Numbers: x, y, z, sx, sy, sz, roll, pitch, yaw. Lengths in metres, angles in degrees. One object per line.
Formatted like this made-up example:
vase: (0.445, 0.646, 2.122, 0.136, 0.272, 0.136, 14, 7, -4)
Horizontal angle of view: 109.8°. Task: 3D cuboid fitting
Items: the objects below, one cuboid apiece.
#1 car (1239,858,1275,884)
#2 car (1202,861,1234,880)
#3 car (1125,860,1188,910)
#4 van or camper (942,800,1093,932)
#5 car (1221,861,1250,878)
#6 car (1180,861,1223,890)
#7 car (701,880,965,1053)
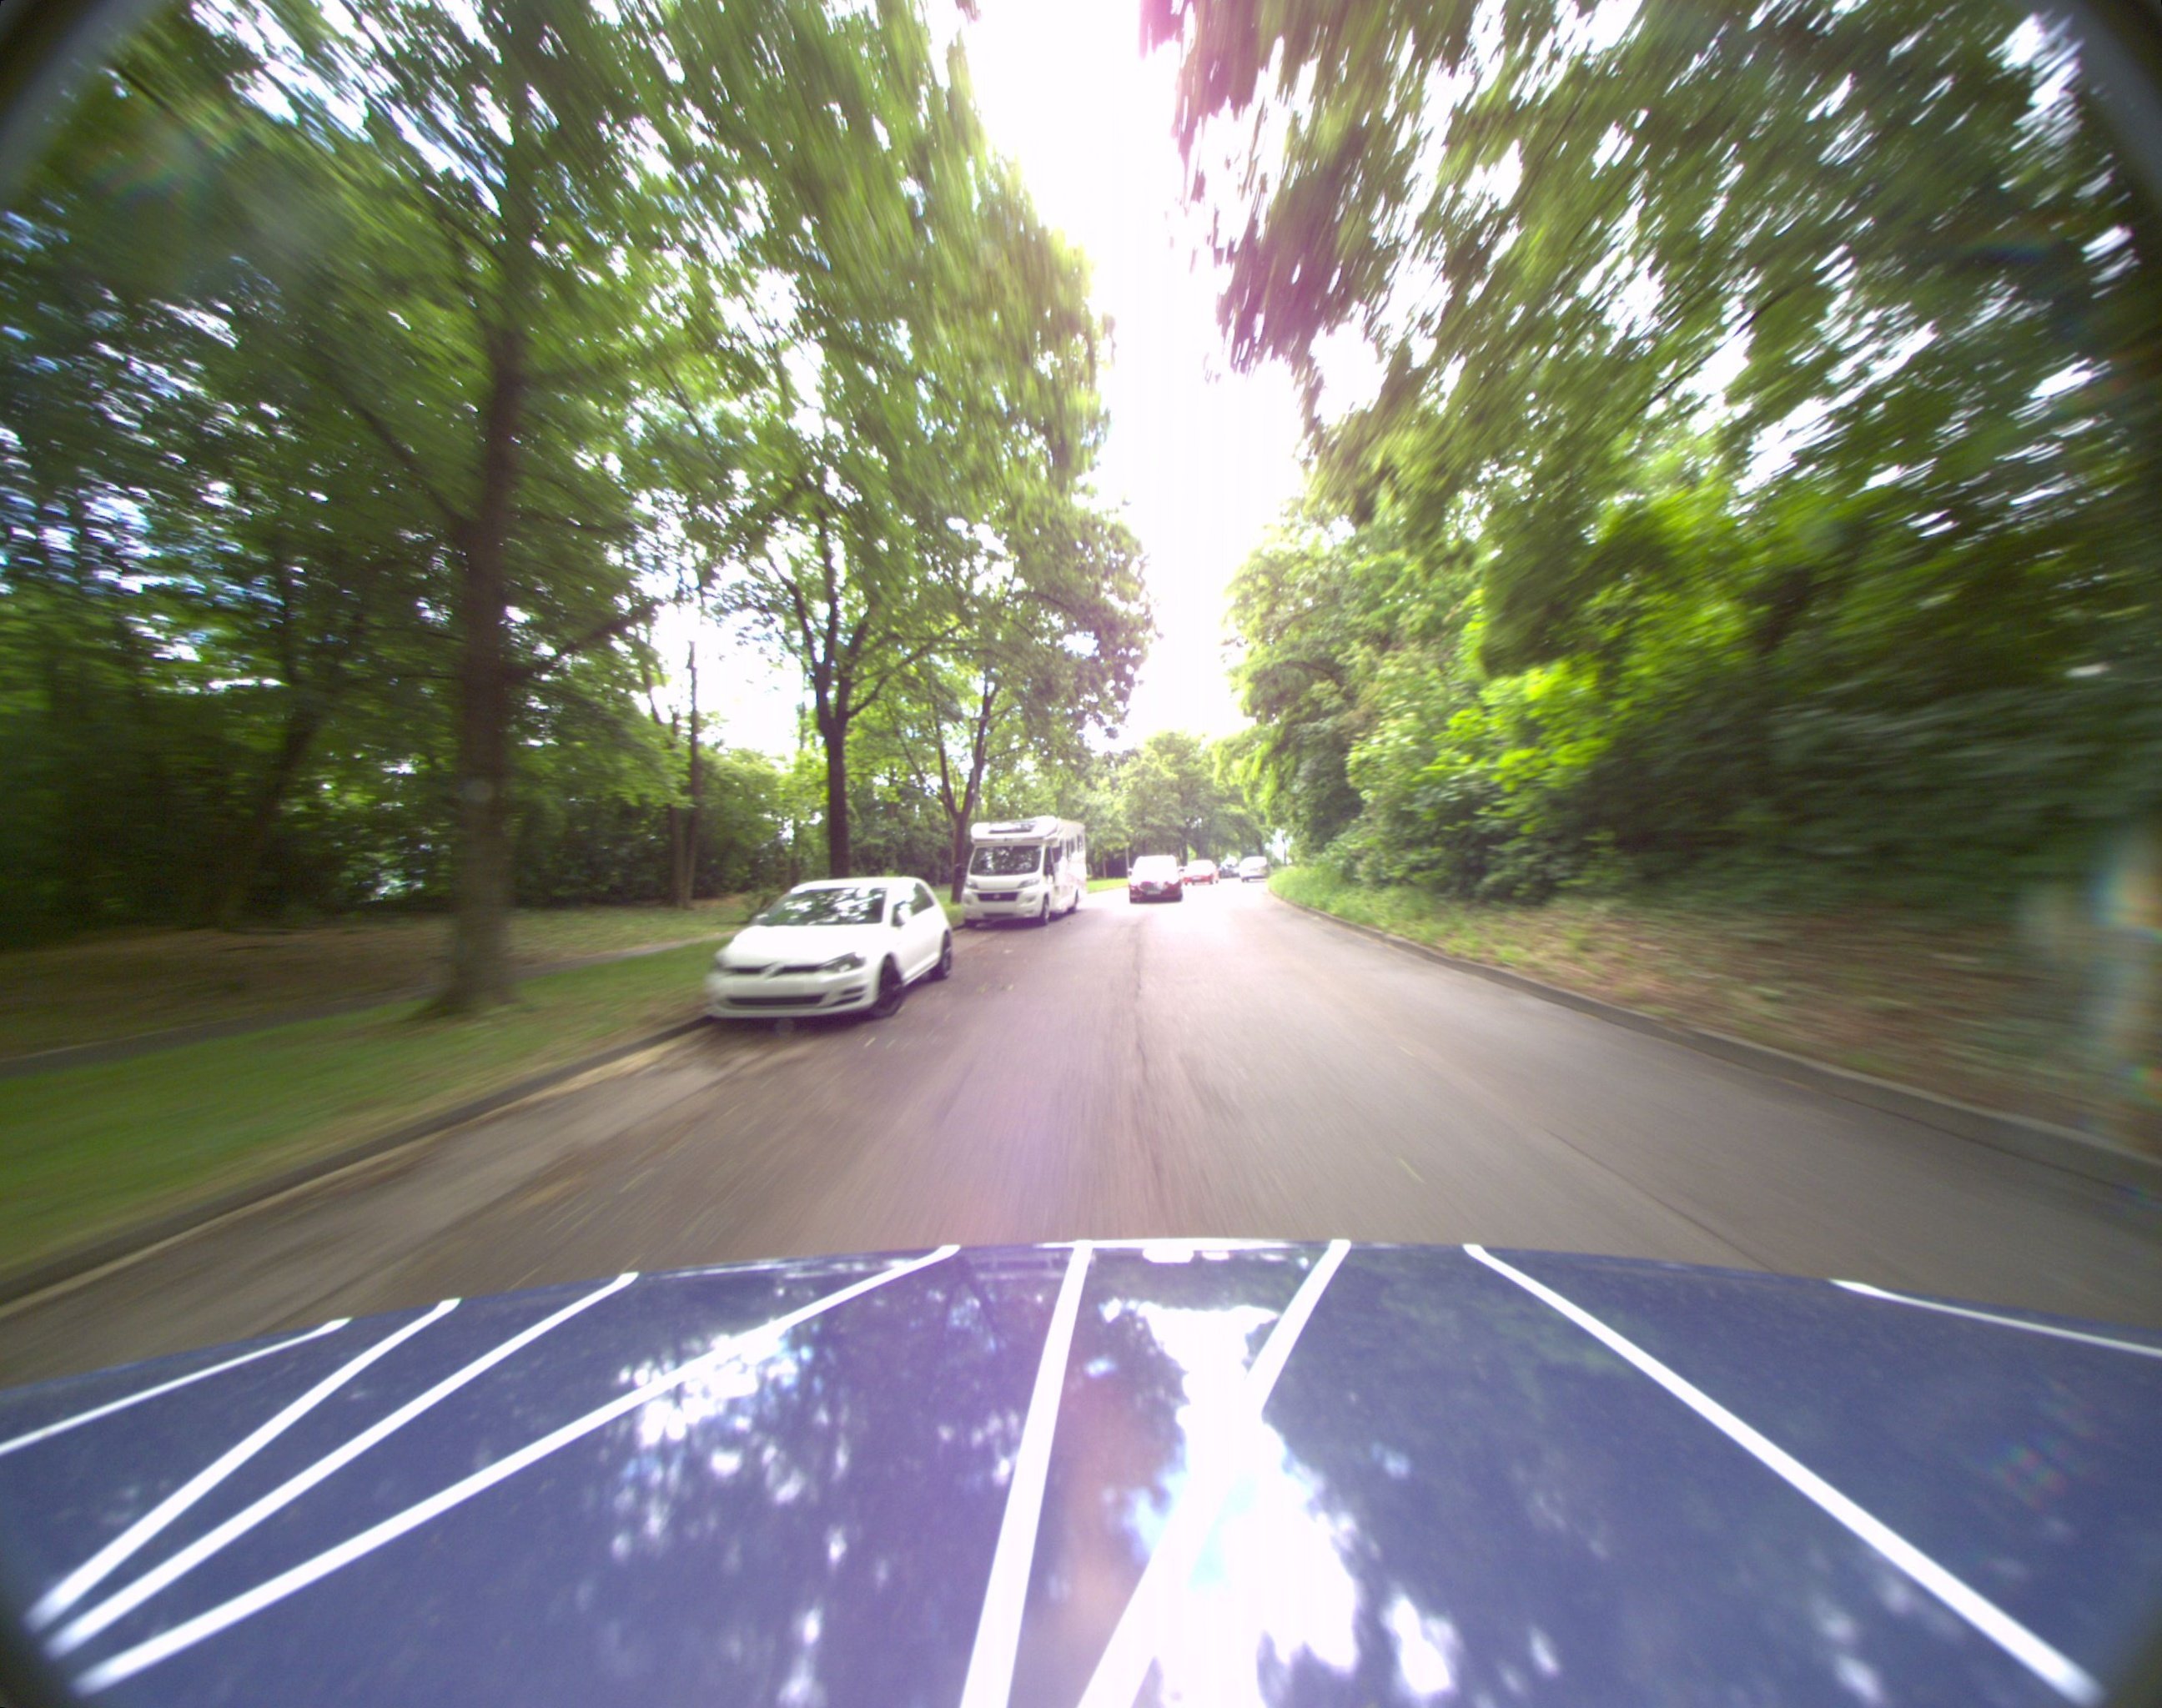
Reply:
car: (11.051, 1.036, 47.468, 1.796, 1.499, 4.005, -3, -1, 18)
car: (12.111, 1.430, 66.848, 1.712, 1.502, 4.684, -3, -1, 23)
car: (2.934, 1.101, 28.703, 2.002, 1.599, 4.680, -3, -1, 9)
van or camper: (-1.448, 0.305, 21.493, 2.429, 2.962, 7.398, -3, -1, 9)
car: (14.703, 1.483, 72.325, 1.712, 1.413, 4.684, -4, -1, 23)
car: (7.378, 1.265, 46.187, 1.956, 1.464, 4.683, -3, -1, 16)
car: (-2.703, 1.155, 9.363, 1.693, 1.473, 4.107, -3, -1, 2)
